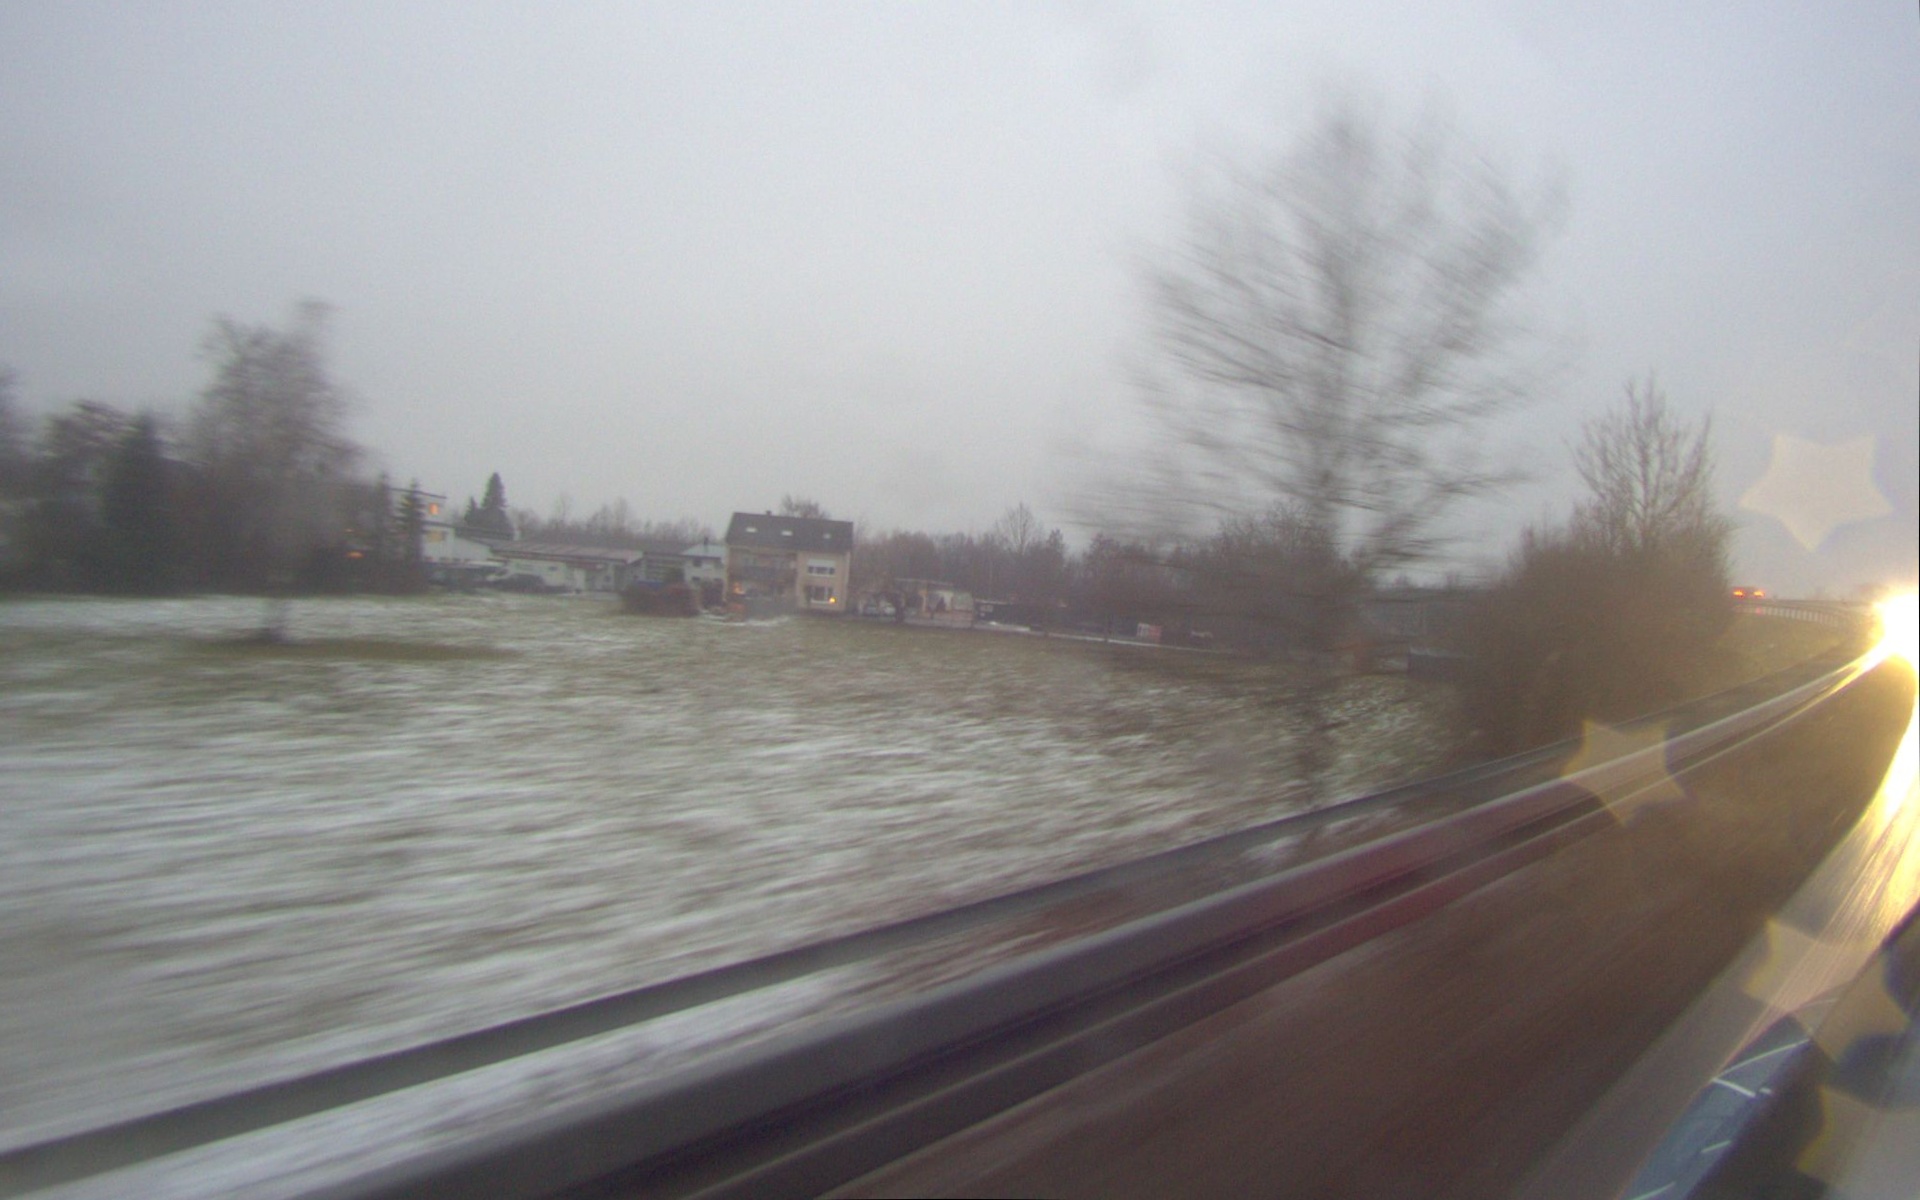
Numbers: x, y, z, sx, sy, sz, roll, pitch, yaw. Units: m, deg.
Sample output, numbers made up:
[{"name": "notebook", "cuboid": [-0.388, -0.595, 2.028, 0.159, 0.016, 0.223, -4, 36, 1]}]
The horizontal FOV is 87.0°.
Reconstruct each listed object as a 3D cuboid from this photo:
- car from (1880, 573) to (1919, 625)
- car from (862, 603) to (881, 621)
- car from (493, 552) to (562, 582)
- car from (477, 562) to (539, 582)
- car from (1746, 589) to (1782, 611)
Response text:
[{"name": "car", "cuboid": [33.910, 0.046, 35.251, 2.091, 1.595, 4.737, 4, 1, 35]}, {"name": "car", "cuboid": [-9.685, 1.320, 110.915, 1.961, 1.749, 4.003, 1, 1, -3]}, {"name": "car", "cuboid": [-43.880, -3.302, 102.743, 5.993, 2.876, 2.296, 1, 1, -5]}, {"name": "car", "cuboid": [-43.884, -2.741, 98.333, 5.019, 1.841, 2.296, 1, 1, -5]}, {"name": "car", "cuboid": [65.576, -0.035, 82.600, 2.005, 1.655, 4.811, 2, 2, 35]}]
